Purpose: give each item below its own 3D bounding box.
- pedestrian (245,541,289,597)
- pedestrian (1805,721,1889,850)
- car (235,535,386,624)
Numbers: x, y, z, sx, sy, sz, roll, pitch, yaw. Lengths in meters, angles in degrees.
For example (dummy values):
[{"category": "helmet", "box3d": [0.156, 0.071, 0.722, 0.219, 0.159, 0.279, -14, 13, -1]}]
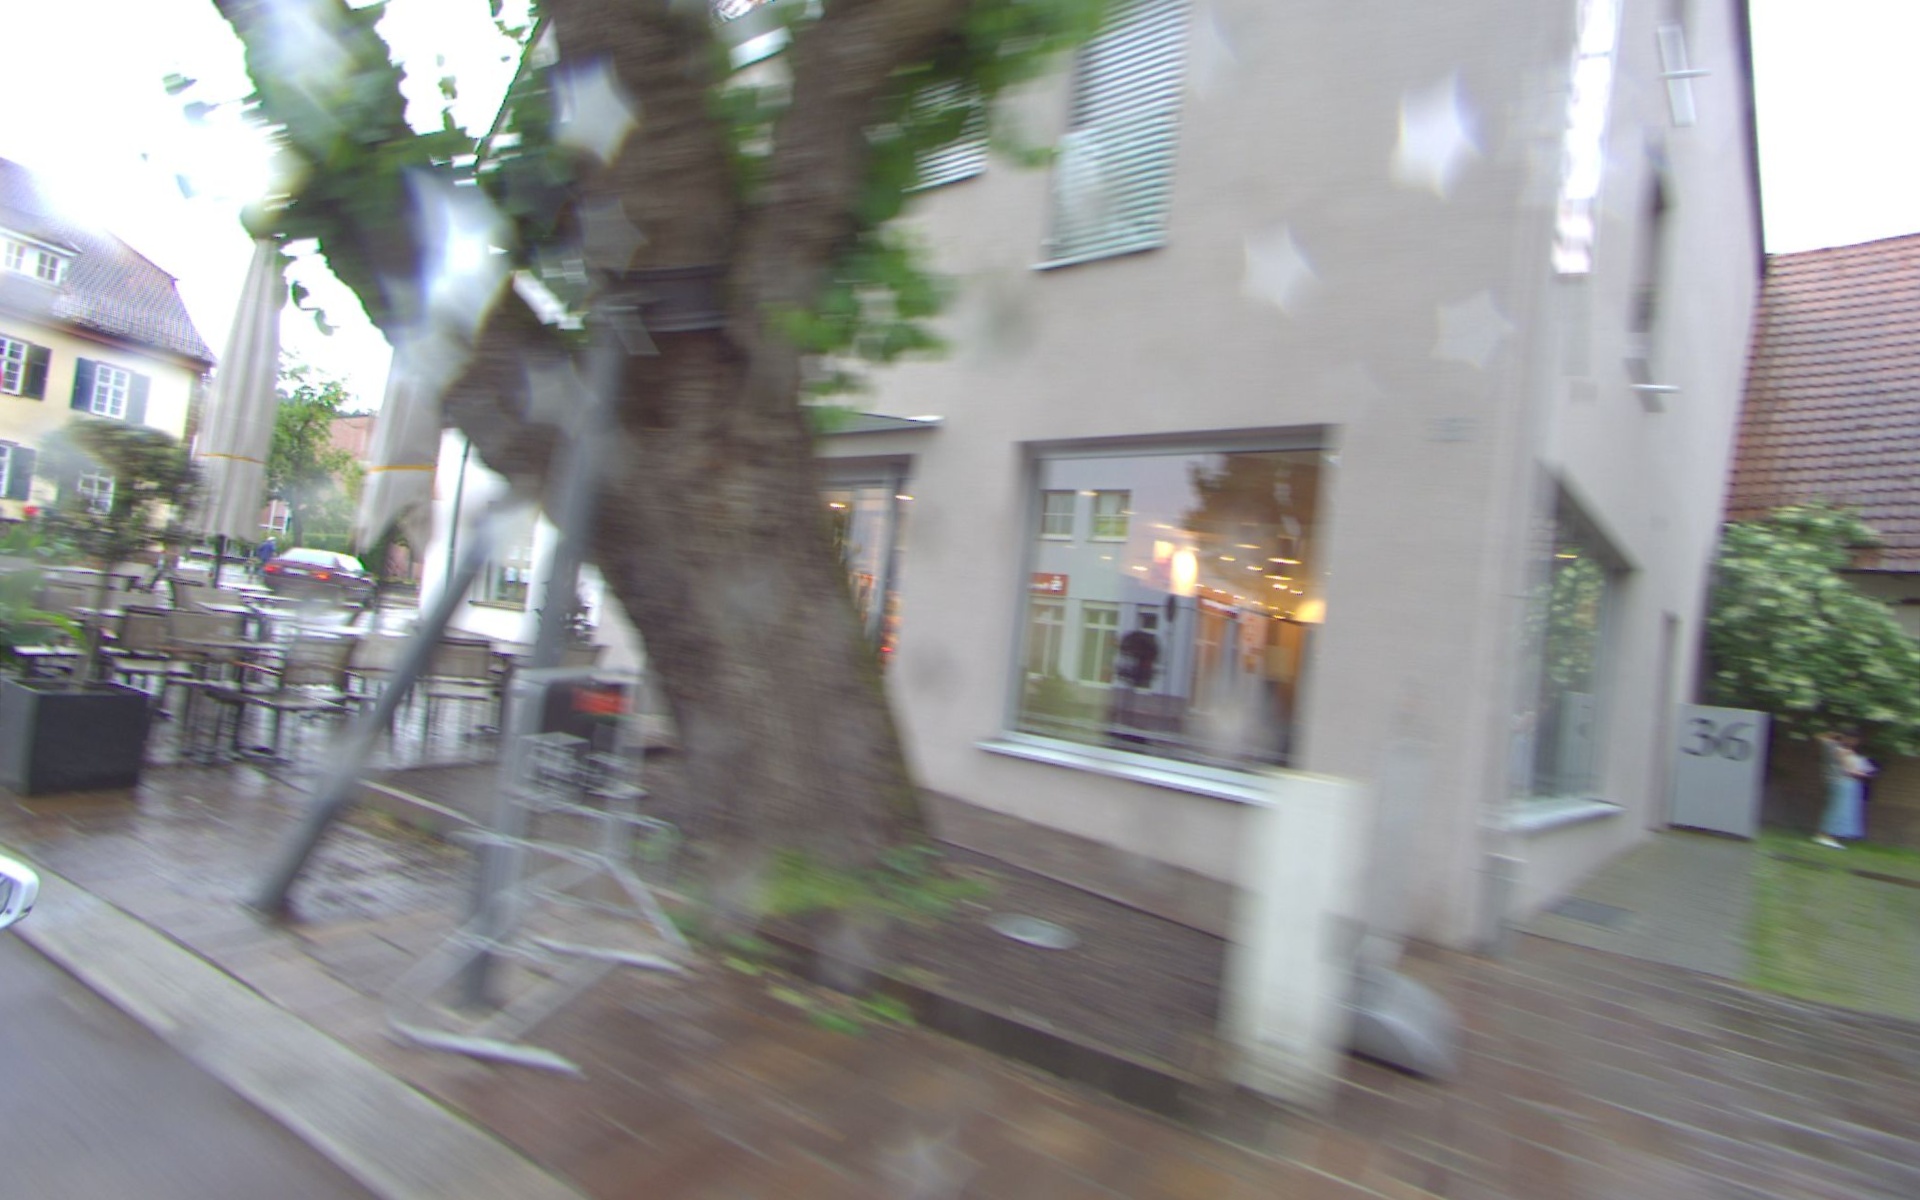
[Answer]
[{"category": "pedestrian", "box3d": [-24.684, -1.105, 35.846, 0.755, 1.862, 0.899, 4, -4, 38]}, {"category": "pedestrian", "box3d": [12.826, 2.672, 14.543, 0.706, 1.734, 0.680, 9, -4, -35]}, {"category": "car", "box3d": [-16.982, -0.444, 26.561, 1.969, 1.818, 3.994, 8, -4, -14]}]
